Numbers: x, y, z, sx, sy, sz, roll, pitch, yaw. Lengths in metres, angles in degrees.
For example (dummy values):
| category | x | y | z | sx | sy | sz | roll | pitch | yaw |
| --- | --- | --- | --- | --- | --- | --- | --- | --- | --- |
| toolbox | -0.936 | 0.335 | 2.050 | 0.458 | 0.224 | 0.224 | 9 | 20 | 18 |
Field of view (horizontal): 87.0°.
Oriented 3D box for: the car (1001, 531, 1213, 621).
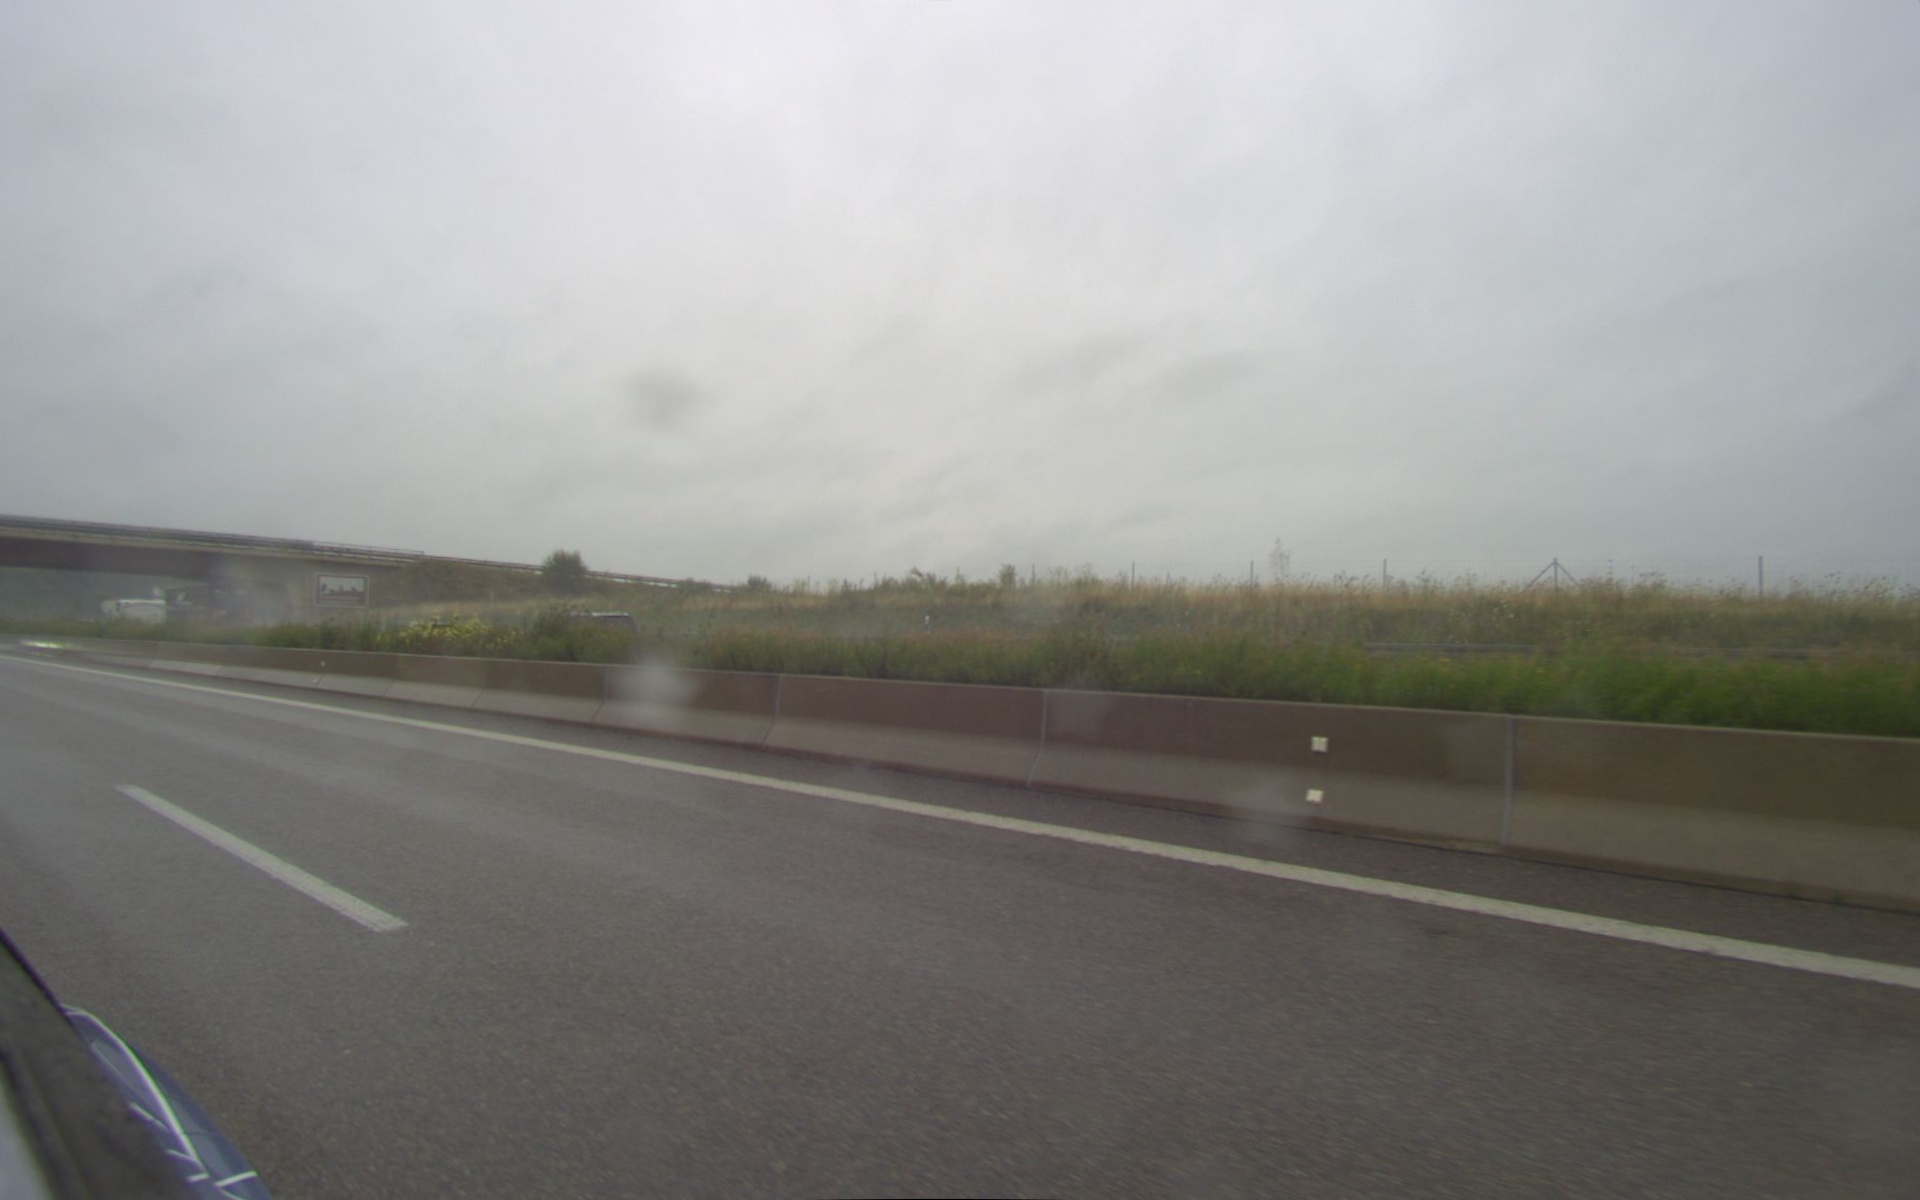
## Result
| category | x | y | z | sx | sy | sz | roll | pitch | yaw |
| --- | --- | --- | --- | --- | --- | --- | --- | --- | --- |
| car | 2.370 | -0.337 | 16.679 | 3.209 | 1.328 | 1.409 | -1 | -1 | 41 |

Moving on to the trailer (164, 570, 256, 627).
| category | x | y | z | sx | sy | sz | roll | pitch | yaw |
| --- | --- | --- | --- | --- | --- | --- | --- | --- | --- |
| trailer | -51.467 | -0.140 | 69.294 | 11.144 | 3.648 | 2.735 | 0 | 0 | 41 |

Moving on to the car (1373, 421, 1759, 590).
| category | x | y | z | sx | sy | sz | roll | pitch | yaw |
| --- | --- | --- | --- | --- | --- | --- | --- | --- | --- |
| car | 5.960 | -0.817 | 10.117 | 3.119 | 1.355 | 1.336 | -1 | -1 | 41 |

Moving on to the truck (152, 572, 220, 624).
| category | x | y | z | sx | sy | sz | roll | pitch | yaw |
| --- | --- | --- | --- | --- | --- | --- | --- | --- | --- |
| truck | -56.037 | -0.165 | 73.244 | 5.735 | 3.635 | 2.751 | 0 | 0 | 40 |

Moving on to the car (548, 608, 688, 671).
| category | x | y | z | sx | sy | sz | roll | pitch | yaw |
| --- | --- | --- | --- | --- | --- | --- | --- | --- | --- |
| car | -9.607 | 1.064 | 28.318 | 3.998 | 1.630 | 1.973 | -1 | -1 | 41 |

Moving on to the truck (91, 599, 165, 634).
| category | x | y | z | sx | sy | sz | roll | pitch | yaw |
| --- | --- | --- | --- | --- | --- | --- | --- | --- | --- |
| truck | -54.668 | 1.029 | 66.443 | 7.420 | 2.171 | 2.449 | 0 | 0 | 40 |
